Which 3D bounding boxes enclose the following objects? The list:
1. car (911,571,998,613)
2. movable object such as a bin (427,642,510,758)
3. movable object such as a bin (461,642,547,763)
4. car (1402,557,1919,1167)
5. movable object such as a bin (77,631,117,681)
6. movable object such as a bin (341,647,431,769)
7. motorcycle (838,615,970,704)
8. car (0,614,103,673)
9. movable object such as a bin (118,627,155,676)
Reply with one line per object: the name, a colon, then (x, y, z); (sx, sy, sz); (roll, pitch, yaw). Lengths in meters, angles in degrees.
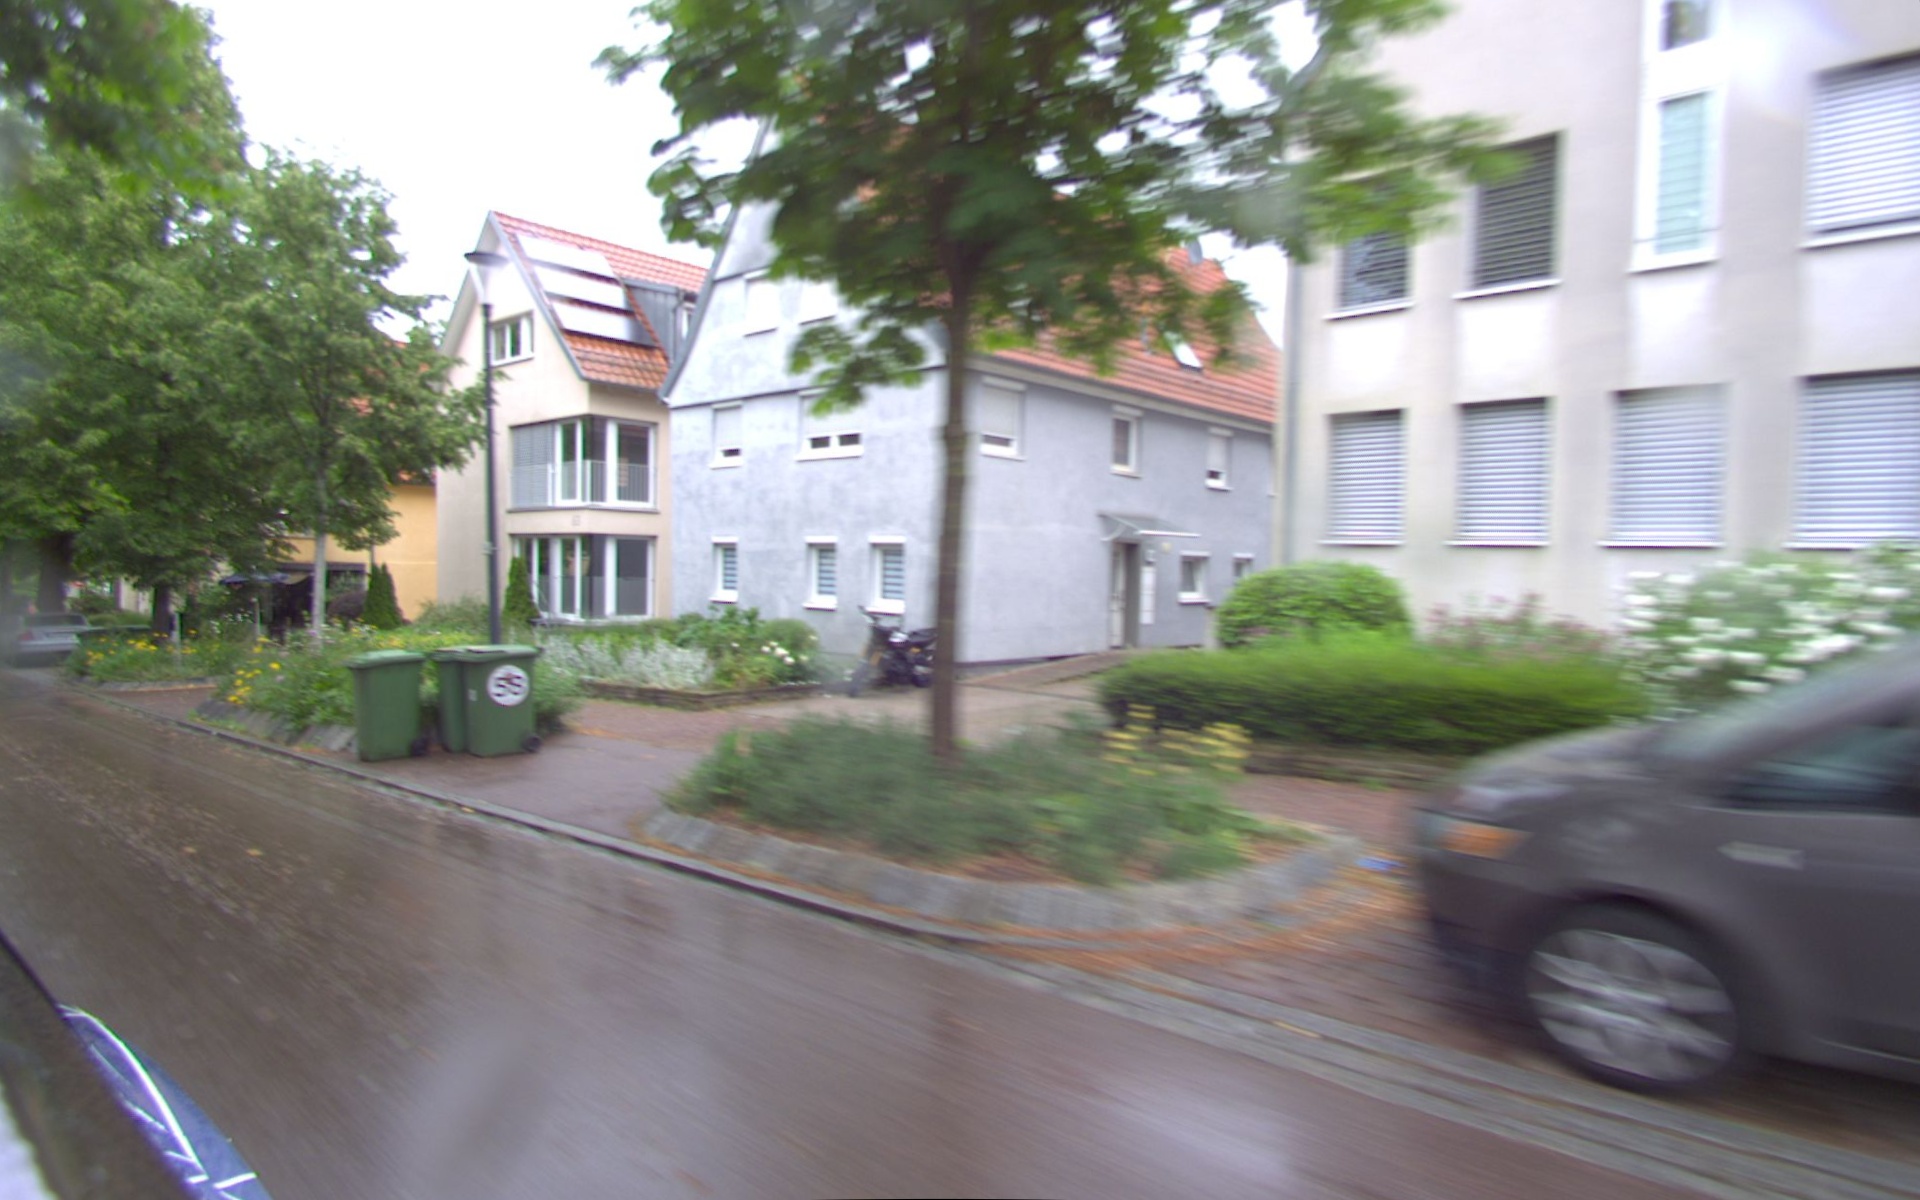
car: (-0.233, -0.396, 48.043); (1.810, 1.870, 3.942); (-1, 1, 45)
movable object such as a bin: (-5.039, 0.997, 10.380); (0.564, 1.119, 0.604); (-2, -1, 43)
movable object such as a bin: (-4.516, 0.989, 10.028); (0.564, 1.119, 0.604); (-2, -1, 43)
car: (3.466, 0.628, 2.680); (3.866, 1.544, 1.629); (-1, 1, 43)
movable object such as a bin: (-19.475, 1.253, 22.830); (0.545, 1.070, 0.588); (-2, 2, 45)
movable object such as a bin: (-5.652, 1.035, 9.969); (0.536, 1.119, 0.636); (-2, -1, 43)
motorcycle: (-0.803, 0.842, 15.041); (0.818, 1.170, 1.961); (-1, 0, 41)
car: (-25.007, 1.132, 27.716); (4.545, 1.399, 1.753); (-1, 2, 43)
movable object such as a bin: (-19.053, 1.183, 23.418); (0.545, 1.070, 0.588); (-1, 1, 45)
